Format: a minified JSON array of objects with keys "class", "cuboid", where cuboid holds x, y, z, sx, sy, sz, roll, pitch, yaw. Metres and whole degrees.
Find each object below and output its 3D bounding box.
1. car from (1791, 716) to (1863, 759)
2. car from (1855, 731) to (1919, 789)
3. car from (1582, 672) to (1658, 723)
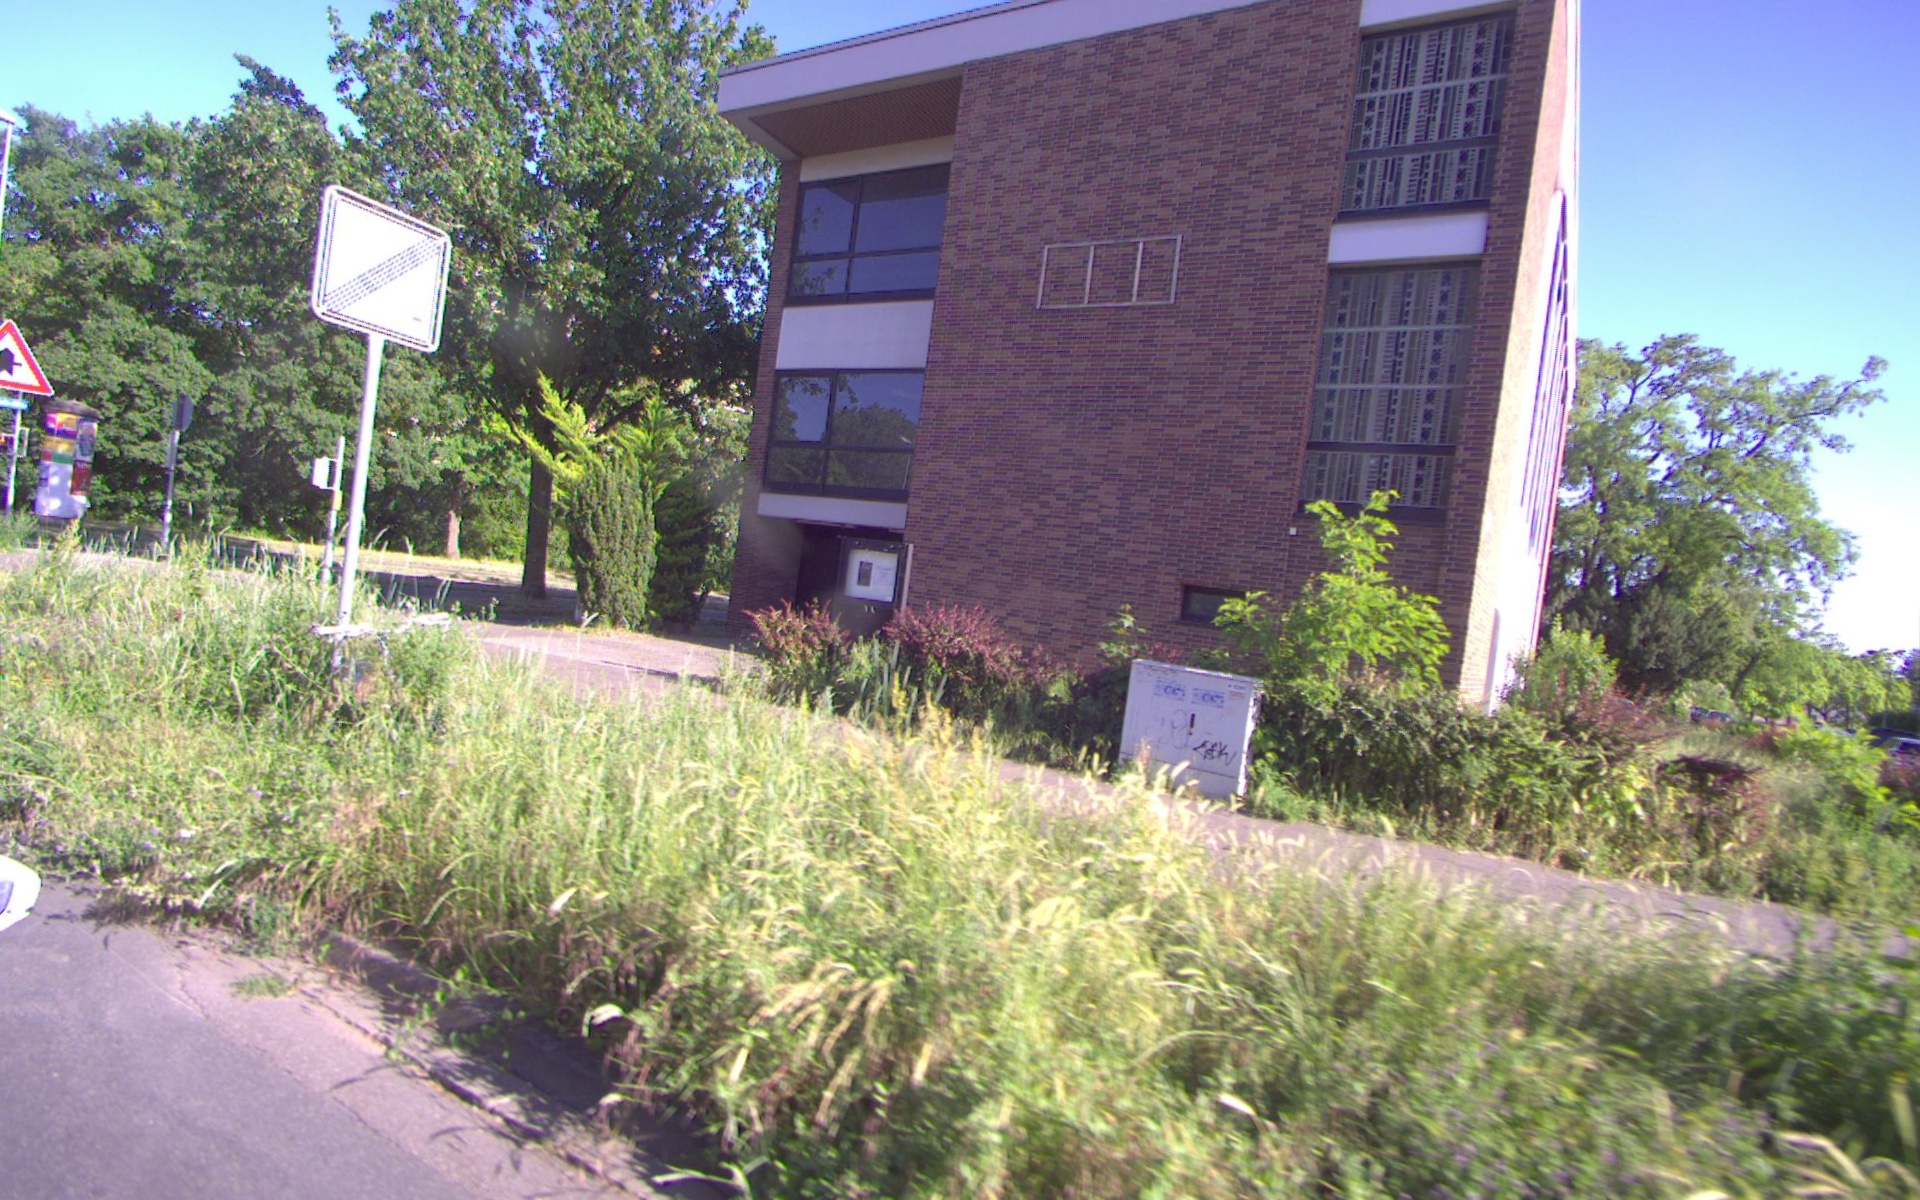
[{"class":"car","cuboid":[40.500,6.377,47.069,1.776,1.521,3.948,9,0,32]},{"class":"car","cuboid":[30.384,5.171,32.177,1.776,1.521,3.948,9,0,32]},{"class":"car","cuboid":[24.464,3.624,37.428,1.793,1.537,3.998,7,-1,27]}]
